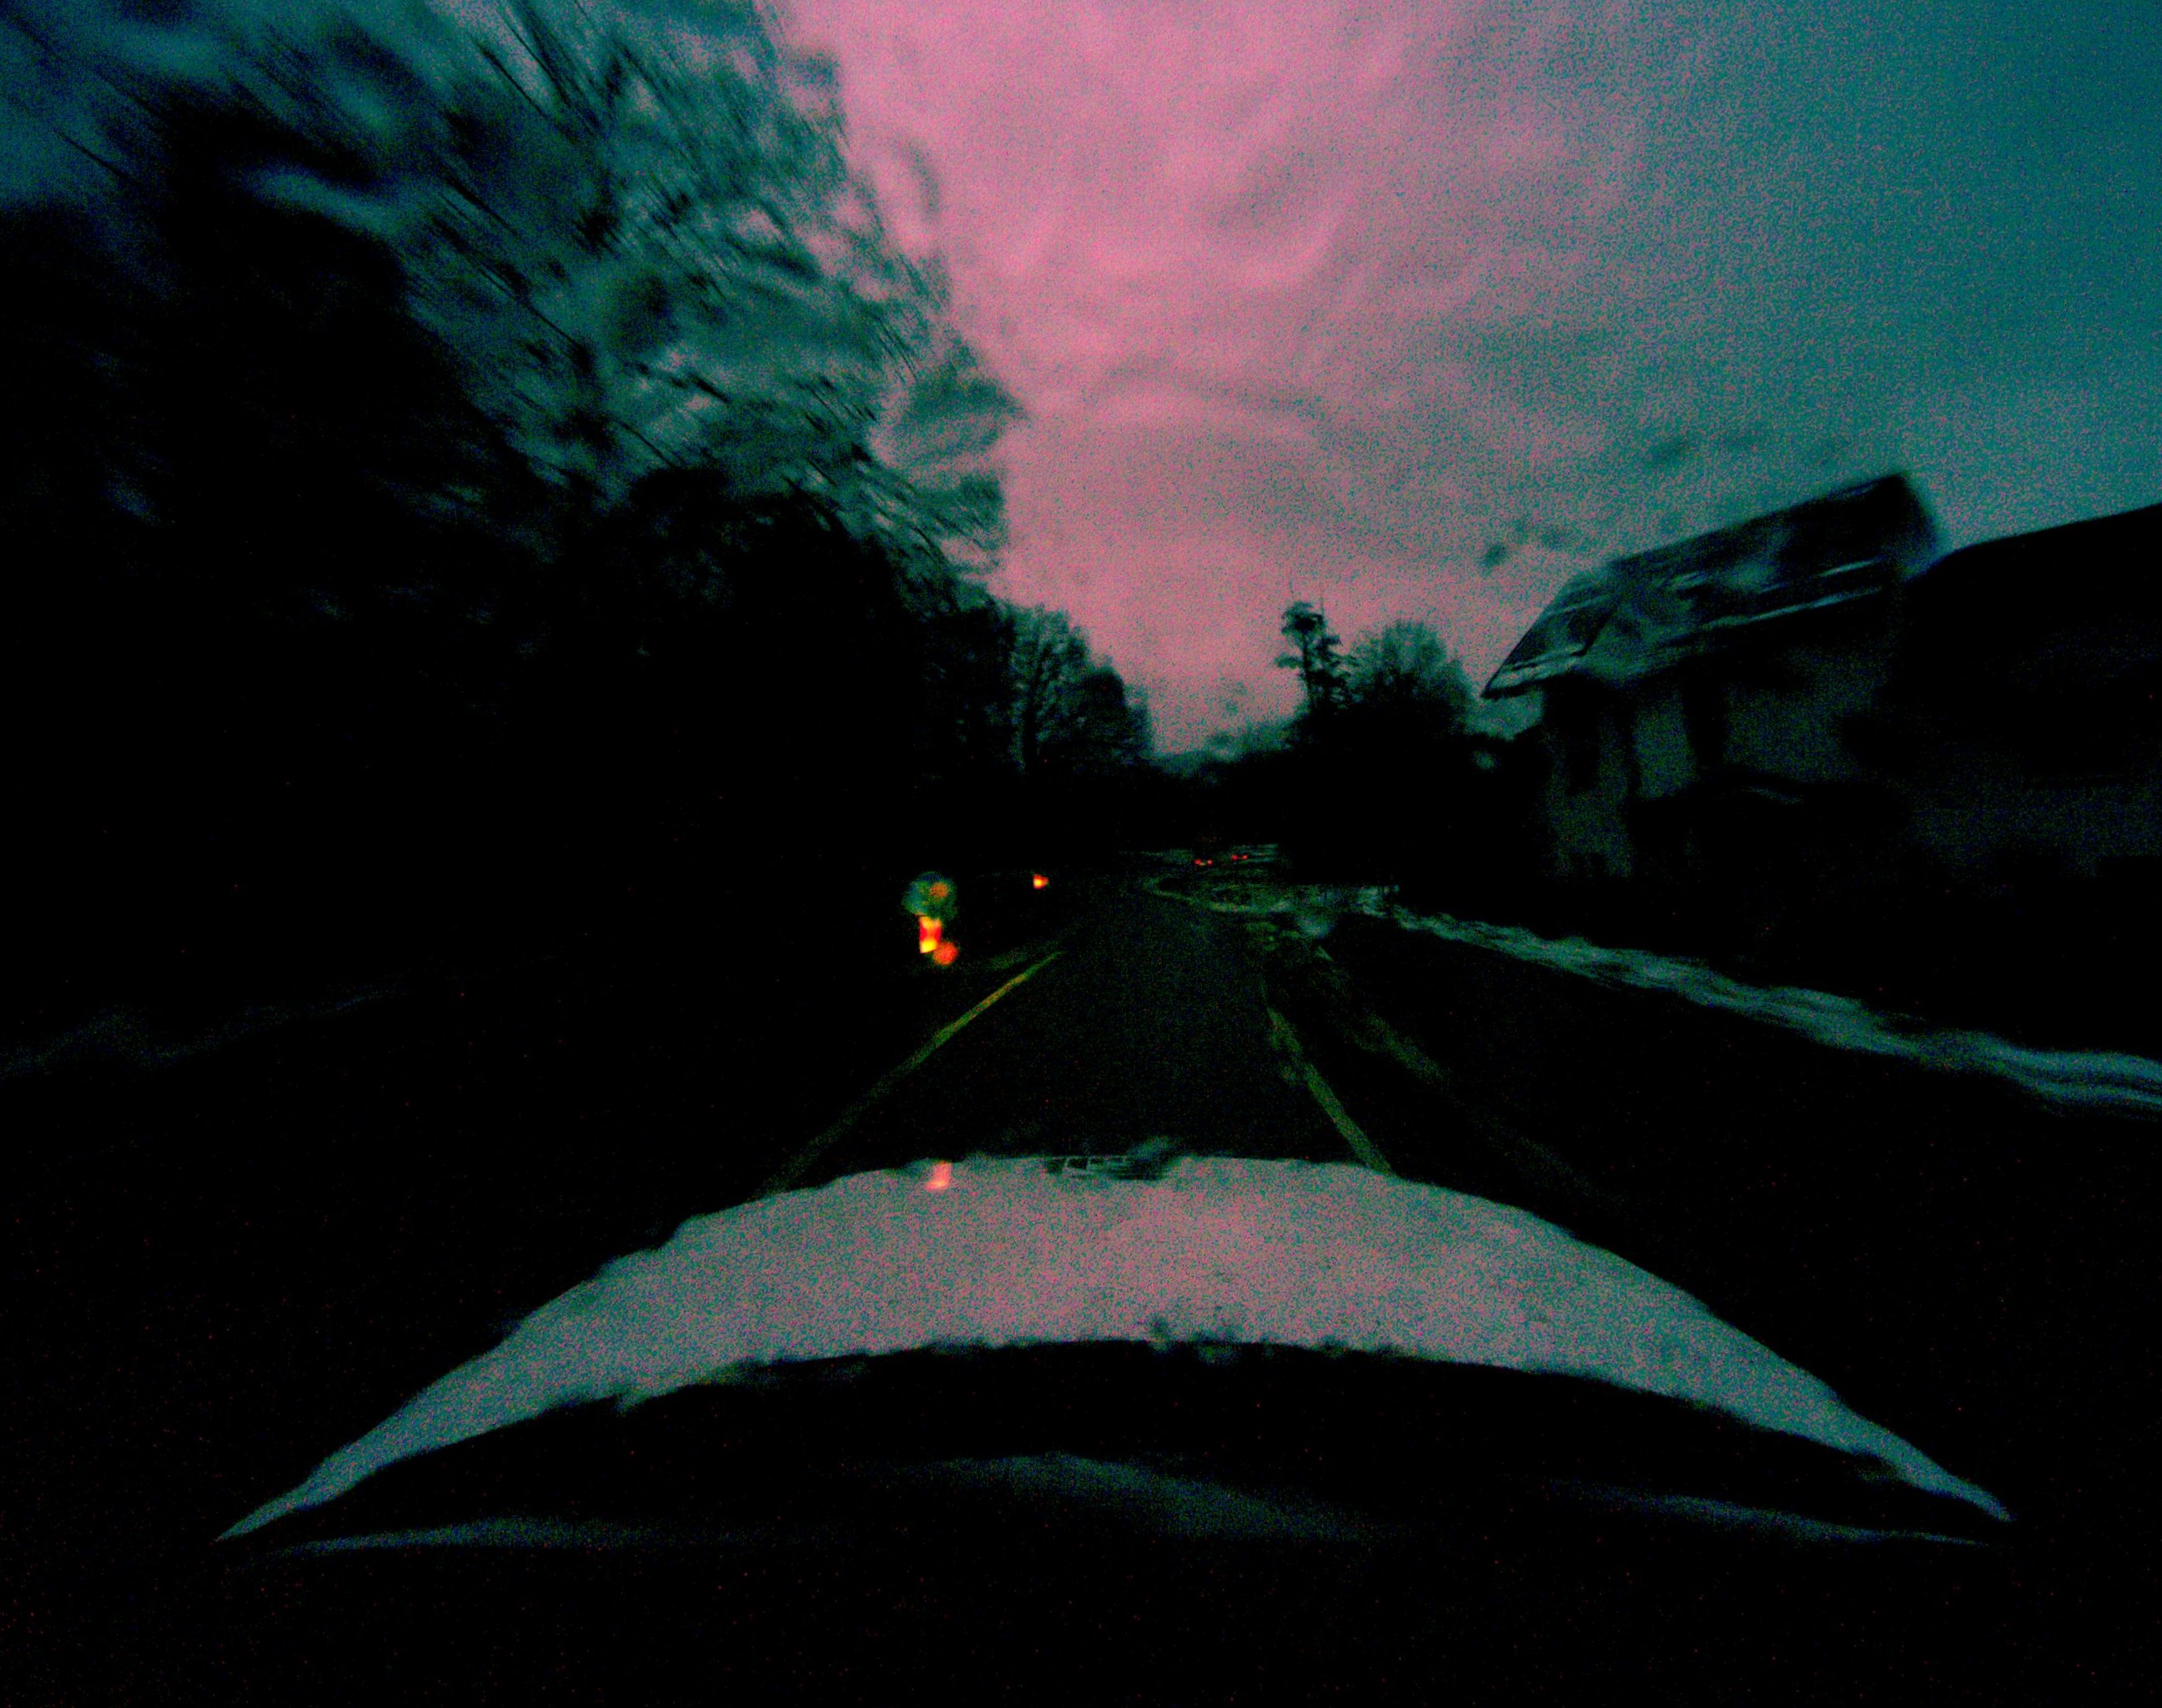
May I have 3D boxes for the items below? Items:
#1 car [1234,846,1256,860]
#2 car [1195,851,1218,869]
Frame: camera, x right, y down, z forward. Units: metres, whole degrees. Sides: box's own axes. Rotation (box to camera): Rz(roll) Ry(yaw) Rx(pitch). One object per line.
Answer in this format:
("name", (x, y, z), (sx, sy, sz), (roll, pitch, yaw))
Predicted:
("car", (19.752, -0.122, 97.916), (1.916, 1.676, 4.021), (-1, 0, 21))
("car", (13.298, 0.605, 86.280), (1.918, 1.781, 4.017), (-1, 0, 16))
